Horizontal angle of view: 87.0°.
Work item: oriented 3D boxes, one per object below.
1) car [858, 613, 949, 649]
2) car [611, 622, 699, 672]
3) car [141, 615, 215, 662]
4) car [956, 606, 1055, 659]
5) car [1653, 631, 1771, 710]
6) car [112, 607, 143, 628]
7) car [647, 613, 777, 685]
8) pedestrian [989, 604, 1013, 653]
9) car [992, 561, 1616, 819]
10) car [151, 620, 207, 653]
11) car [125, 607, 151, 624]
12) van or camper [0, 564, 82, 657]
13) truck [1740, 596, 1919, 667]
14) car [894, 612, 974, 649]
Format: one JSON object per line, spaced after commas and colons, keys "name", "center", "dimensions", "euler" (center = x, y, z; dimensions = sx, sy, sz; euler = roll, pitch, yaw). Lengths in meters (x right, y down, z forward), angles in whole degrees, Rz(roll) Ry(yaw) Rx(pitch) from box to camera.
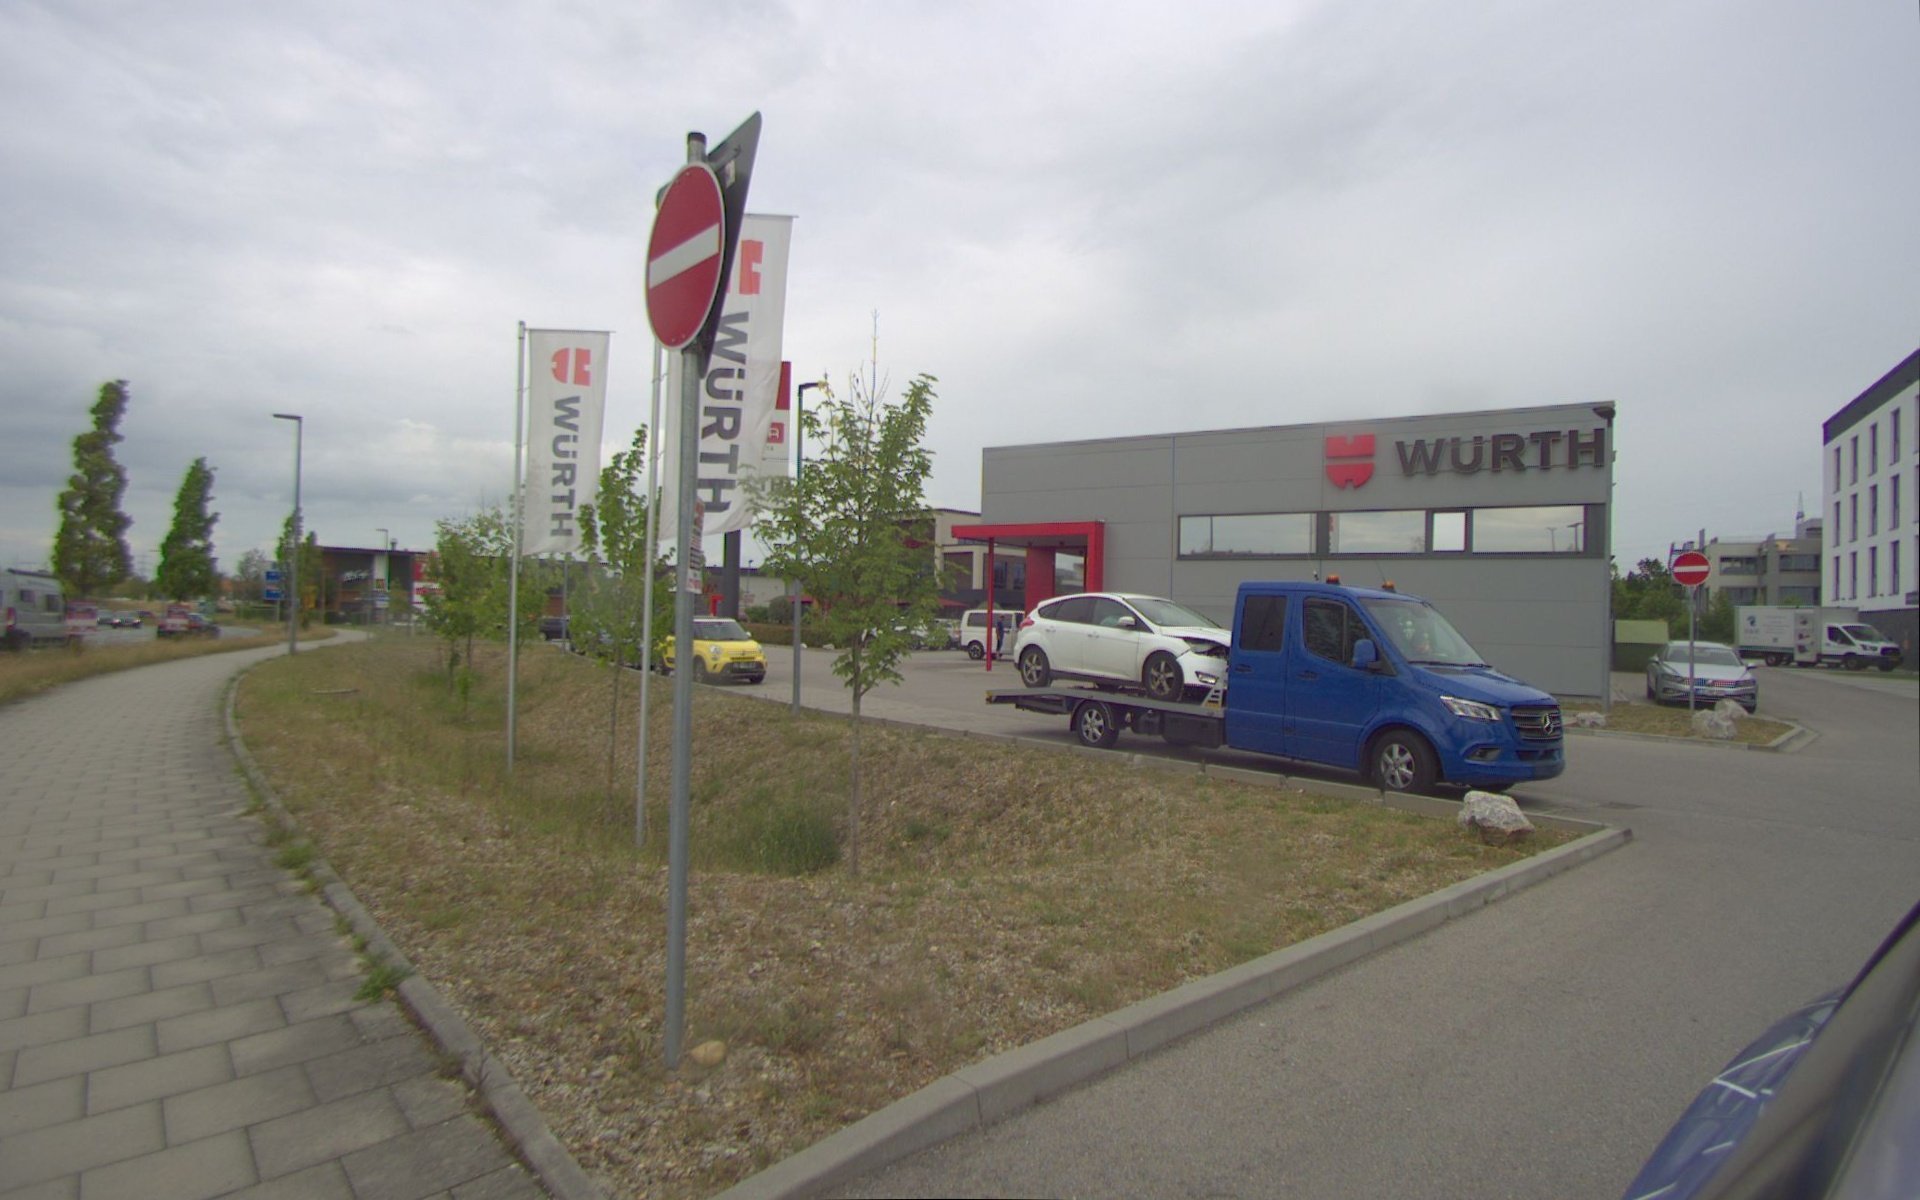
{"name": "car", "center": [-2.999, 1.573, 53.064], "dimensions": [4.710, 1.771, 1.736], "euler": [0, -1, 35]}
{"name": "car", "center": [-9.595, 1.424, 31.687], "dimensions": [1.709, 1.379, 4.003], "euler": [1, -1, -31]}
{"name": "car", "center": [-30.005, 1.445, 38.936], "dimensions": [1.651, 1.698, 3.510], "euler": [1, -1, -28]}
{"name": "car", "center": [1.791, 1.241, 40.298], "dimensions": [3.649, 2.004, 1.656], "euler": [0, -1, 34]}
{"name": "car", "center": [17.564, 1.548, 23.580], "dimensions": [1.971, 1.510, 4.703], "euler": [3, 1, 38]}
{"name": "car", "center": [-68.803, 1.443, 83.703], "dimensions": [1.874, 1.588, 4.331], "euler": [2, 0, -39]}
{"name": "car", "center": [-6.611, 1.207, 26.674], "dimensions": [1.721, 1.705, 4.295], "euler": [1, -1, -38]}
{"name": "pedestrian", "center": [1.578, 1.097, 38.761], "dimensions": [0.654, 1.831, 0.641], "euler": [1, -1, 34]}
{"name": "car", "center": [3.660, 0.811, 13.069], "dimensions": [2.159, 2.352, 7.856], "euler": [2, -1, -35]}
{"name": "car", "center": [-35.996, 1.642, 46.689], "dimensions": [1.464, 1.403, 3.345], "euler": [1, -1, -28]}
{"name": "car", "center": [-94.195, 1.728, 115.975], "dimensions": [3.901, 1.873, 1.781], "euler": [0, -1, 43]}
{"name": "van or camper", "center": [-28.761, 0.320, 30.446], "dimensions": [2.151, 2.574, 6.172], "euler": [2, -2, -28]}
{"name": "truck", "center": [41.004, 1.400, 47.691], "dimensions": [2.387, 3.055, 7.078], "euler": [0, -1, -7]}
{"name": "car", "center": [-1.425, 1.620, 55.362], "dimensions": [3.973, 1.883, 1.975], "euler": [1, -1, 35]}
